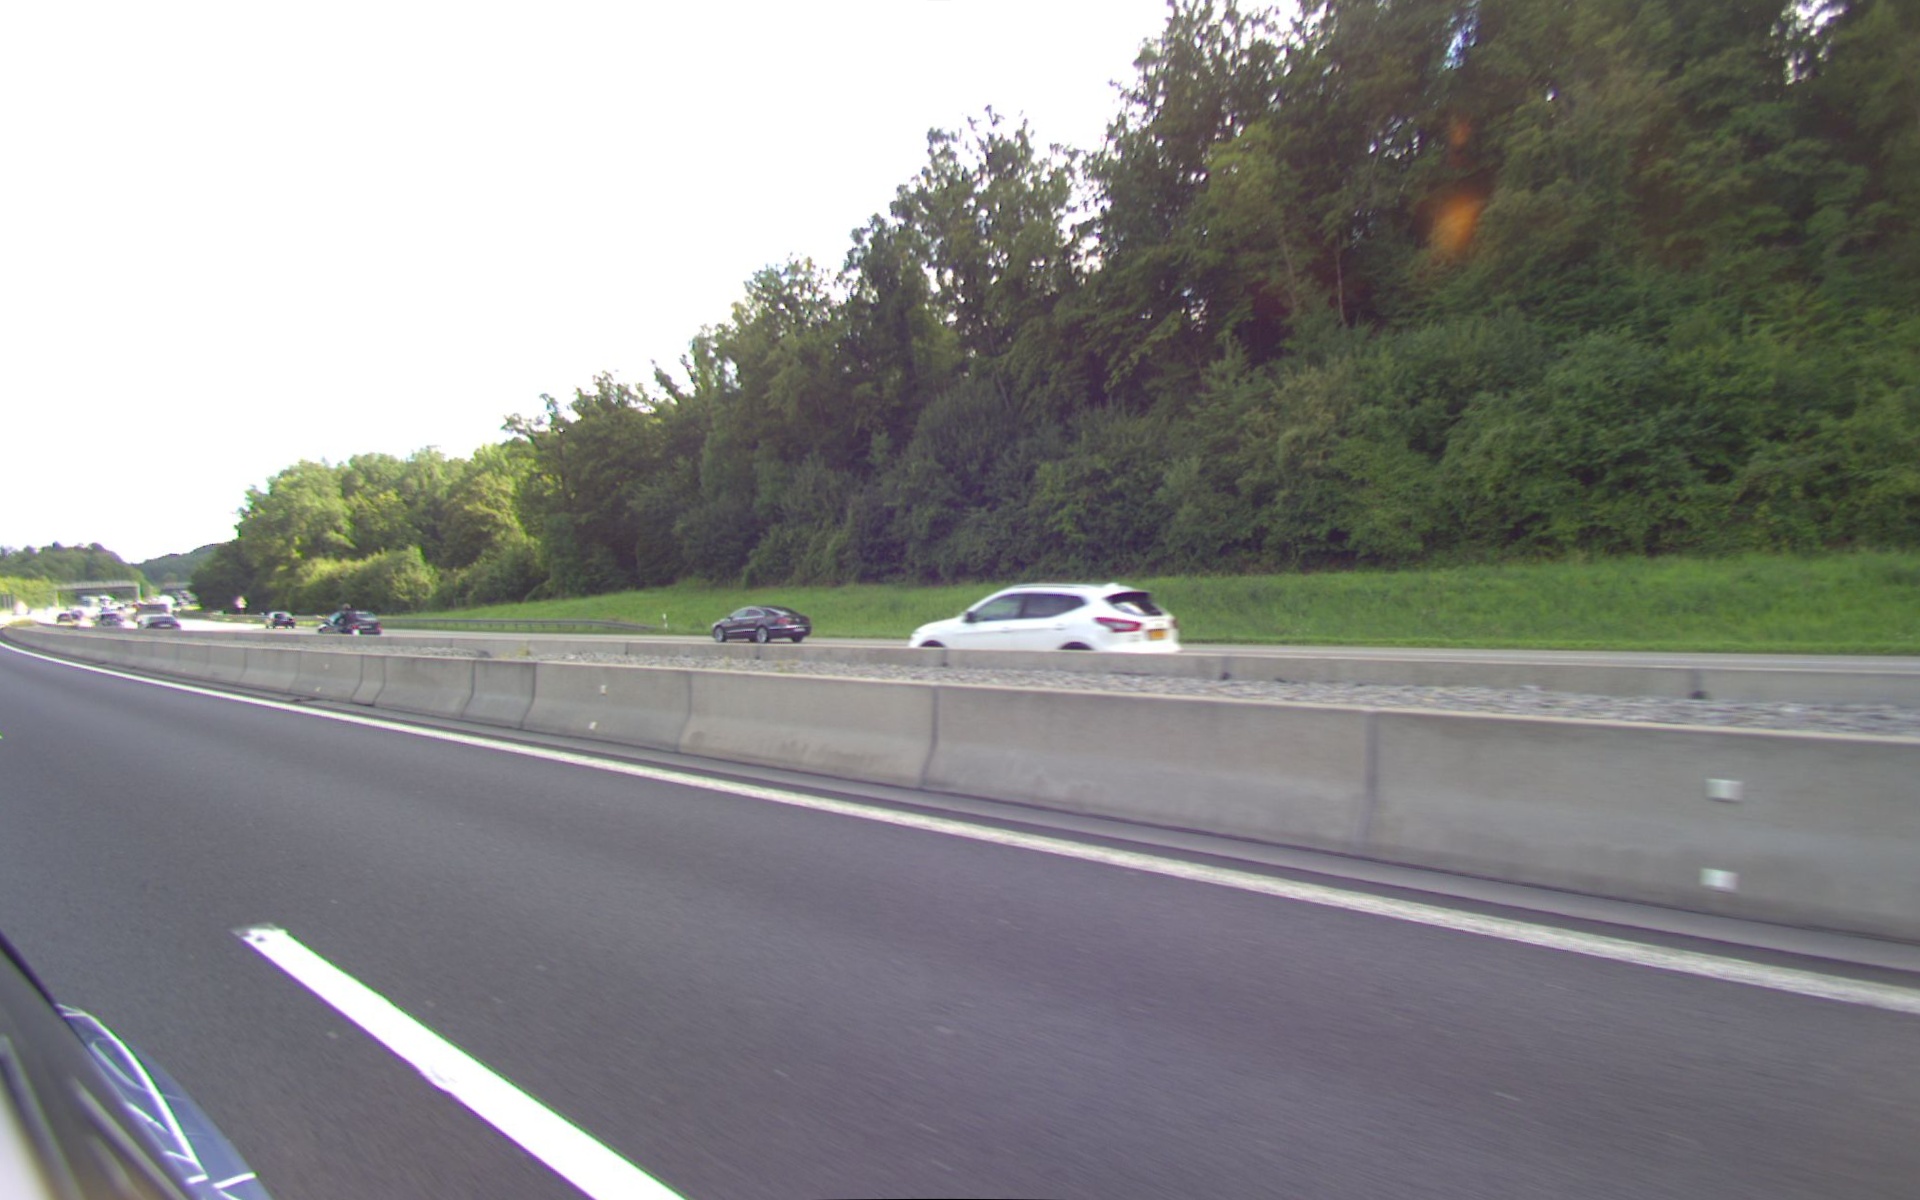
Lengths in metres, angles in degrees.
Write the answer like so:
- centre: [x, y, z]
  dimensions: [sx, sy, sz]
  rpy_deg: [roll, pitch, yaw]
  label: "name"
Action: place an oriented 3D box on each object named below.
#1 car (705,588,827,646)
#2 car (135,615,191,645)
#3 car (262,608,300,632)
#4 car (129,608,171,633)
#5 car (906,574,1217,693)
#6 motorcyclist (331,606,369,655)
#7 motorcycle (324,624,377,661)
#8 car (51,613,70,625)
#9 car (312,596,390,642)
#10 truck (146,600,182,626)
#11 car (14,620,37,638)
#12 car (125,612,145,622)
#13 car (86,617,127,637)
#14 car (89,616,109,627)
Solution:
- centre: [-7.409, 0.634, 38.313]
  dimensions: [4.778, 2.050, 2.004]
  rpy_deg: [-1, 0, 41]
  label: "car"
- centre: [-47.763, 1.759, 60.618]
  dimensions: [4.778, 1.639, 1.971]
  rpy_deg: [-1, 0, 44]
  label: "car"
- centre: [-60.580, 1.822, 90.262]
  dimensions: [4.001, 2.050, 1.971]
  rpy_deg: [-2, 0, 44]
  label: "car"
- centre: [-73.158, 1.835, 91.343]
  dimensions: [2.175, 2.146, 8.082]
  rpy_deg: [-1, 0, -44]
  label: "car"
- centre: [1.347, 0.443, 14.656]
  dimensions: [4.295, 1.471, 1.742]
  rpy_deg: [-1, 0, 42]
  label: "car"
- centre: [-21.101, 1.029, 34.984]
  dimensions: [0.922, 1.645, 0.885]
  rpy_deg: [-2, 0, 43]
  label: "motorcyclist"
- centre: [-21.075, 1.454, 34.964]
  dimensions: [2.640, 1.197, 0.912]
  rpy_deg: [-1, 0, 45]
  label: "motorcycle"
- centre: [-130.298, 2.714, 146.579]
  dimensions: [4.485, 1.618, 1.781]
  rpy_deg: [-1, 0, 45]
  label: "car"
- centre: [-28.777, 0.858, 47.776]
  dimensions: [4.778, 2.029, 1.971]
  rpy_deg: [-1, 0, 44]
  label: "car"
- centre: [-132.303, 2.092, 168.111]
  dimensions: [3.410, 4.158, 13.691]
  rpy_deg: [-1, 0, -44]
  label: "truck"
- centre: [-111.549, 3.394, 120.764]
  dimensions: [1.970, 2.050, 4.003]
  rpy_deg: [-1, 0, -44]
  label: "car"
- centre: [-120.904, 2.469, 148.292]
  dimensions: [1.878, 1.476, 4.346]
  rpy_deg: [-1, 0, -44]
  label: "car"
- centre: [-68.056, 2.128, 80.666]
  dimensions: [5.963, 1.521, 1.960]
  rpy_deg: [-1, 0, 44]
  label: "car"
- centre: [-130.642, 3.279, 153.617]
  dimensions: [2.013, 1.627, 5.044]
  rpy_deg: [-1, 0, -44]
  label: "car"
